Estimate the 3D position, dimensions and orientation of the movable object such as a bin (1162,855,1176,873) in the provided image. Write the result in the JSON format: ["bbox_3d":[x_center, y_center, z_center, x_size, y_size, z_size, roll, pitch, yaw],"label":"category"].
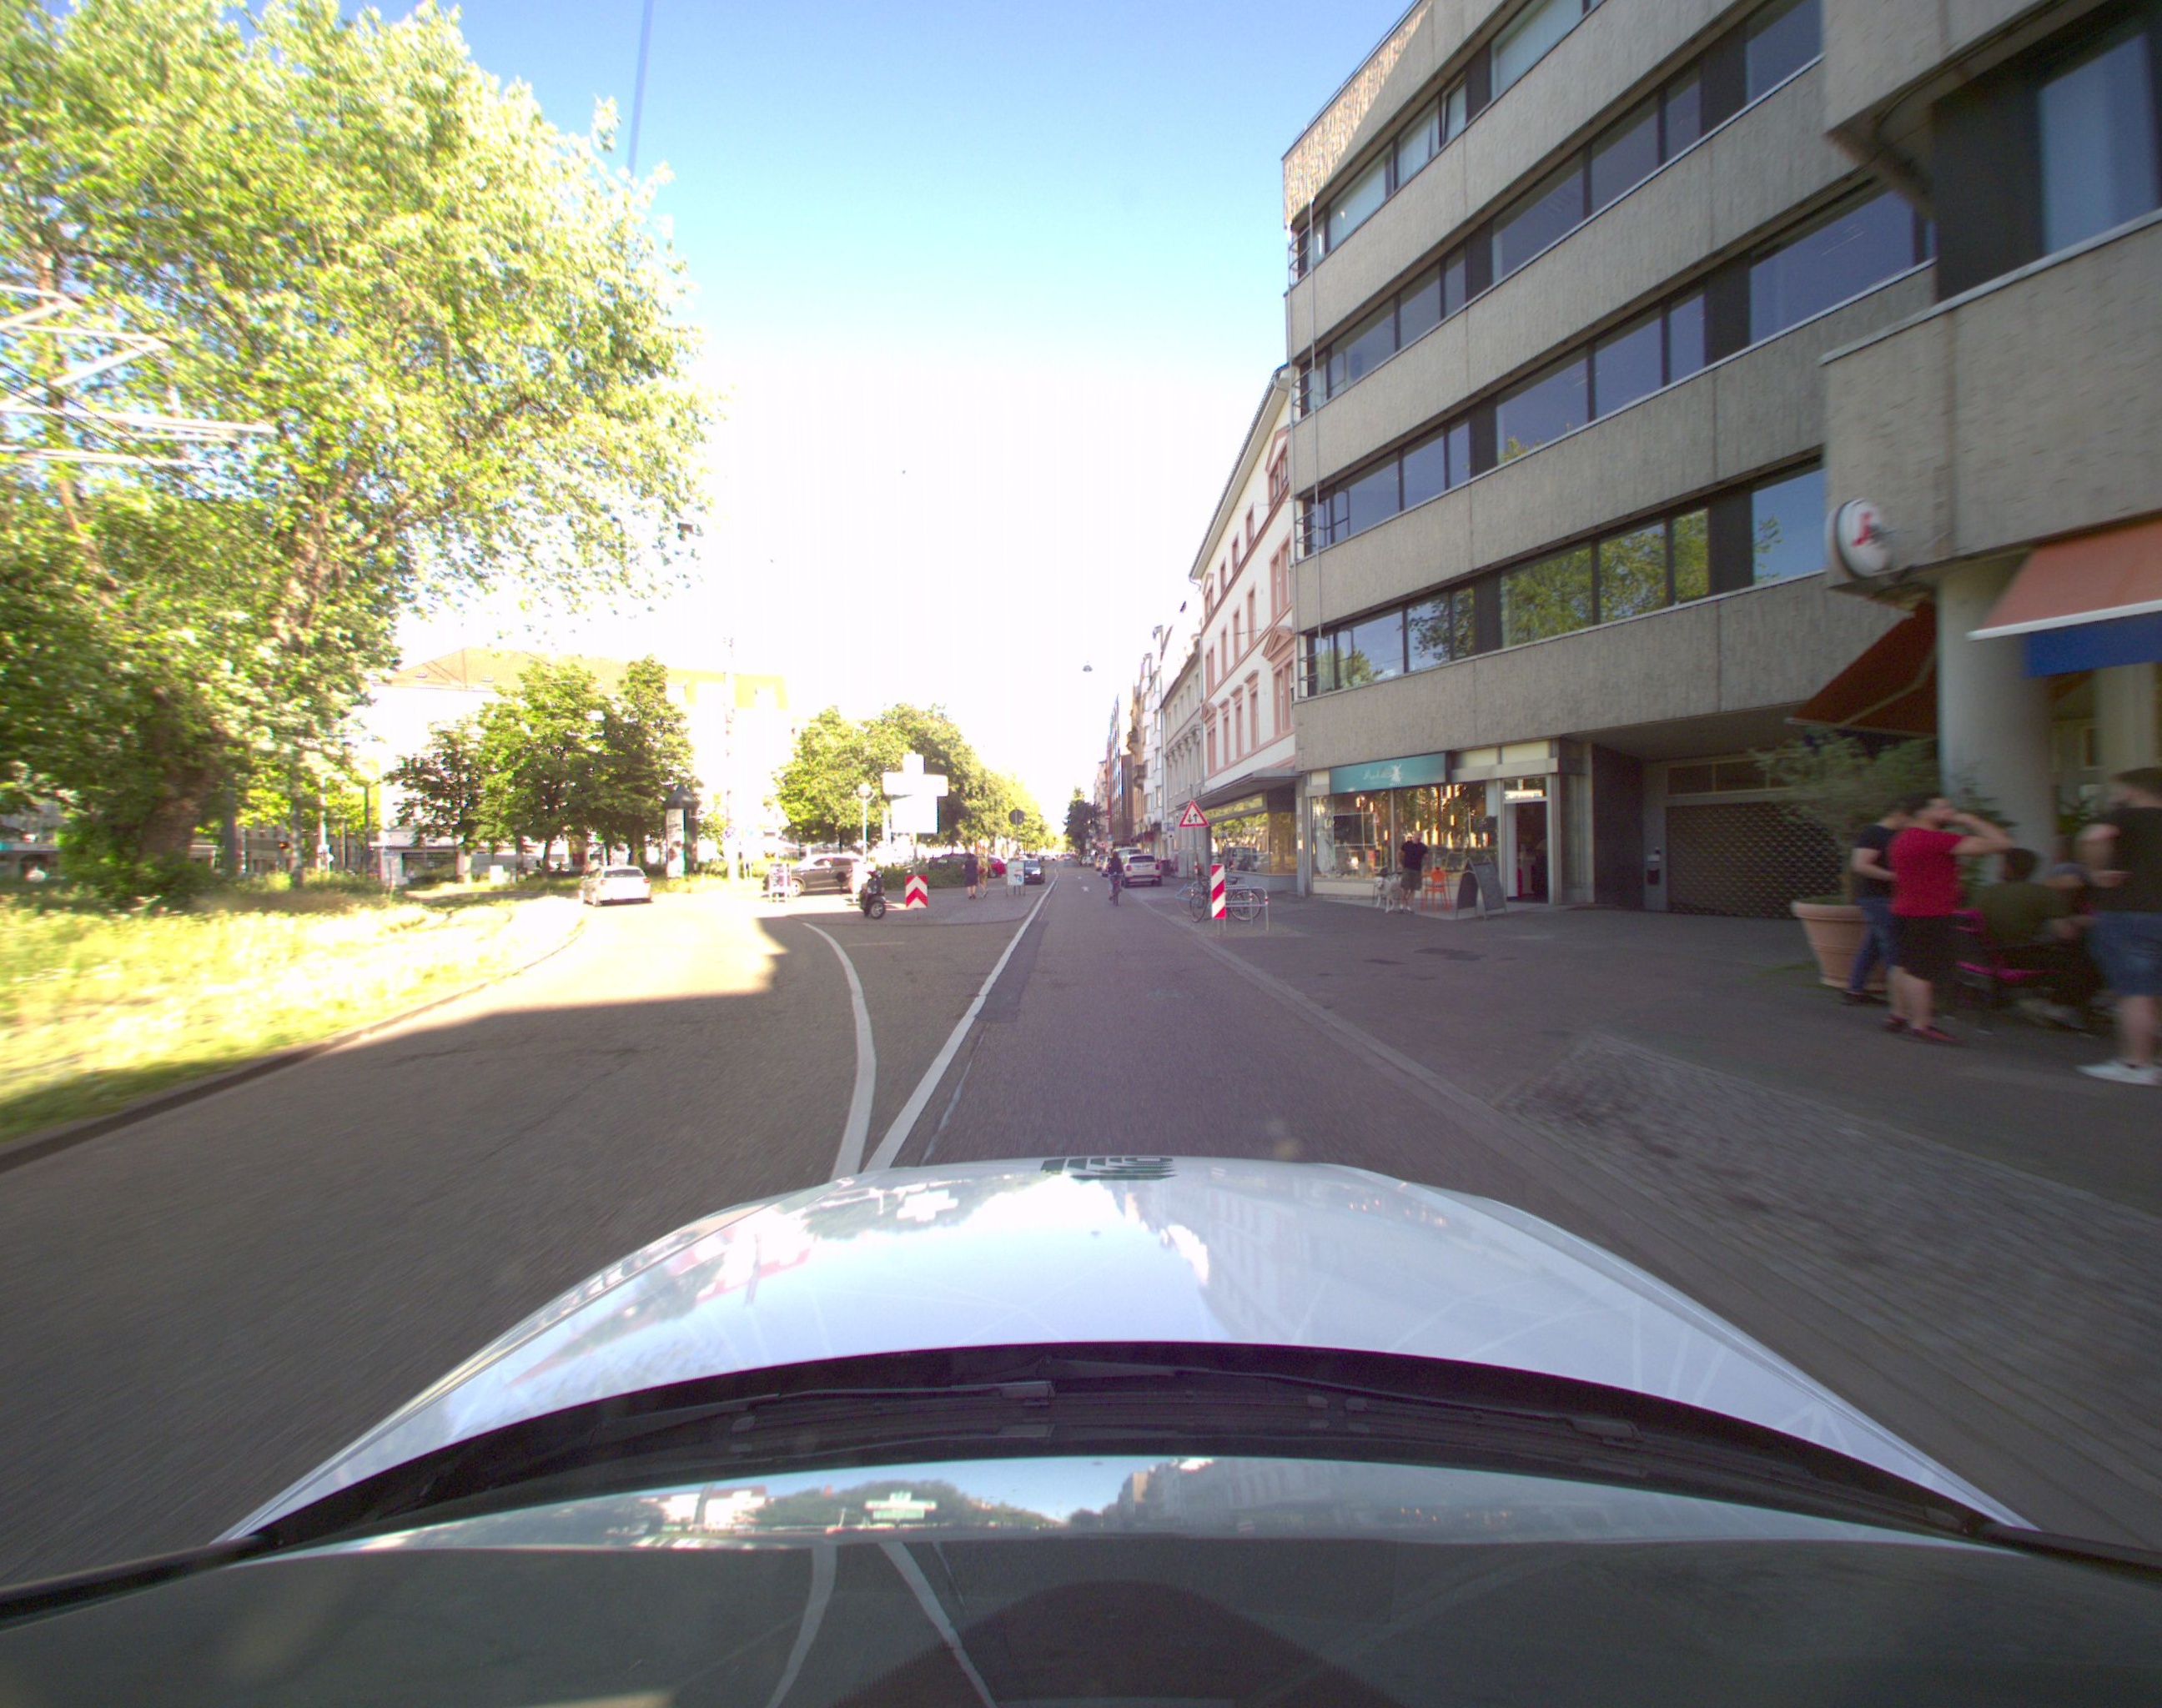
[{"bbox_3d":[5.655,0.631,52.444,0.792,1.076,0.660,-4,-1,1],"label":"movable object such as a bin"}]

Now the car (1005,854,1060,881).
[{"bbox_3d":[-2.655,0.781,45.756,1.899,1.417,4.825,0,-1,12],"label":"car"}]

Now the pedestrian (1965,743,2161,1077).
[{"bbox_3d":[6.050,0.311,4.891,0.668,1.856,0.611,-3,-1,2],"label":"pedestrian"}]

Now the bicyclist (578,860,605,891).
[{"bbox_3d":[-24.295,1.060,40.438,0.815,1.507,0.937,-1,-2,41],"label":"bicyclist"}]

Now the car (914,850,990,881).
[{"bbox_3d":[-7.275,0.632,45.953,3.997,1.668,1.988,1,0,-17],"label":"car"}]

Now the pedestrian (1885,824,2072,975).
[{"bbox_3d":[8.361,0.404,7.622,0.842,1.292,0.827,-2,-1,-13],"label":"pedestrian"}]

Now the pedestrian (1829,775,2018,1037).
[{"bbox_3d":[5.850,0.344,5.696,0.581,1.714,0.698,0,-1,2],"label":"pedestrian"}]

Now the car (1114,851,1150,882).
[{"bbox_3d":[2.795,0.701,45.258,1.694,1.604,3.755,-1,-1,0],"label":"car"}]

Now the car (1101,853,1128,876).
[{"bbox_3d":[2.413,0.770,59.779,1.713,1.515,3.580,-3,-1,-1],"label":"car"}]

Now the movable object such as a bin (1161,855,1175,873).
[{"bbox_3d":[5.681,0.627,53.150,0.835,1.137,0.699,-2,-1,1],"label":"movable object such as a bin"}]

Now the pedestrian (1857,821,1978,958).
[{"bbox_3d":[9.096,0.365,8.858,0.847,1.402,0.746,1,0,-31],"label":"pedestrian"}]

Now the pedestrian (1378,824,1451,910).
[{"bbox_3d":[6.938,0.271,17.016,1.128,1.743,1.022,0,-1,1],"label":"pedestrian"}]

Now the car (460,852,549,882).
[{"bbox_3d":[-45.520,1.058,64.448,5.361,2.314,1.984,1,-1,-25],"label":"car"}]

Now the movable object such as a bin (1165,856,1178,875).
[{"bbox_3d":[5.673,0.728,51.167,0.765,1.161,0.579,0,-1,1],"label":"movable object such as a bin"}]

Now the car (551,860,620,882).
[{"bbox_3d":[-43.261,1.490,71.217,4.877,1.804,1.894,1,-1,-23],"label":"car"}]

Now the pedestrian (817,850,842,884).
[{"bbox_3d":[-11.181,0.579,36.167,0.774,1.522,0.947,1,-2,-39],"label":"pedestrian"}]

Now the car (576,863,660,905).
[{"bbox_3d":[-16.953,1.058,29.739,2.010,1.423,4.148,1,-1,-39],"label":"car"}]

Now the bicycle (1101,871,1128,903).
[{"bbox_3d":[1.032,1.020,25.759,0.651,0.958,2.696,0,-1,-2],"label":"bicycle"}]

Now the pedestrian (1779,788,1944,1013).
[{"bbox_3d":[6.420,0.341,6.711,0.846,1.710,0.713,-3,0,-29],"label":"pedestrian"}]

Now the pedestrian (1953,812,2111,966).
[{"bbox_3d":[9.242,0.311,7.931,0.845,1.402,0.824,-1,0,-26],"label":"pedestrian"}]

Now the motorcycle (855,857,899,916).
[{"bbox_3d":[-5.010,0.765,19.951,0.749,1.374,1.746,1,-1,-24],"label":"motorcycle"}]

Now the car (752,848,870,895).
[{"bbox_3d":[-10.321,0.637,31.287,3.891,1.682,1.790,-1,-1,-41],"label":"car"}]

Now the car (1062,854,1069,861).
[{"bbox_3d":[-3.890,0.907,205.752,1.864,1.556,3.999,0,-1,0],"label":"car"}]

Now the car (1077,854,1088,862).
[{"bbox_3d":[0.244,0.798,154.322,1.988,1.453,3.997,0,0,-1],"label":"car"}]

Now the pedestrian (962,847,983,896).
[{"bbox_3d":[-3.719,0.597,27.885,0.634,1.672,0.692,0,-1,-1],"label":"pedestrian"}]

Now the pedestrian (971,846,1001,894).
[{"bbox_3d":[-3.369,0.564,28.833,0.795,1.699,0.674,-1,-2,29],"label":"pedestrian"}]

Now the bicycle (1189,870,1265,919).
[{"bbox_3d":[3.313,0.909,18.517,1.667,1.062,0.345,0,-1,14],"label":"bicycle"}]

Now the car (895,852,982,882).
[{"bbox_3d":[-7.357,0.687,42.202,4.017,1.470,1.854,1,-1,-36],"label":"car"}]

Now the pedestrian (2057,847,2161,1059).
[{"bbox_3d":[6.681,0.581,4.962,0.627,1.236,0.625,-3,-1,2],"label":"pedestrian"}]

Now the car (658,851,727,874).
[{"bbox_3d":[-35.648,0.816,74.829,5.607,2.014,1.801,1,-1,-28],"label":"car"}]

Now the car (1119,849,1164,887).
[{"bbox_3d":[2.920,0.677,40.032,1.740,1.739,4.957,0,-1,-1],"label":"car"}]

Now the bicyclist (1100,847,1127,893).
[{"bbox_3d":[1.030,0.509,25.911,0.784,1.453,1.095,0,-1,-2],"label":"bicyclist"}]

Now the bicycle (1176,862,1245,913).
[{"bbox_3d":[3.244,0.825,20.370,1.608,1.243,0.662,0,-1,19],"label":"bicycle"}]

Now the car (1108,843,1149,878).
[{"bbox_3d":[2.851,0.366,50.172,1.989,2.005,5.112,-1,0,-2],"label":"car"}]

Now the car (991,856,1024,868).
[{"bbox_3d":[-9.164,0.964,101.502,3.974,1.508,1.999,0,-1,-1],"label":"car"}]

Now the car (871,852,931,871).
[{"bbox_3d":[-17.316,0.745,78.392,5.293,1.800,2.144,1,-1,-28],"label":"car"}]

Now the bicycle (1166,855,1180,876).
[{"bbox_3d":[5.538,0.704,49.112,0.479,1.186,1.727,-4,-2,17],"label":"bicycle"}]

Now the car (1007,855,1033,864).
[{"bbox_3d":[-9.736,0.897,130.270,3.974,1.508,1.894,0,-1,-1],"label":"car"}]

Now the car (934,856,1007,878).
[{"bbox_3d":[-7.787,0.902,57.385,4.853,1.488,1.752,1,-1,-22],"label":"car"}]

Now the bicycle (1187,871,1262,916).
[{"bbox_3d":[3.336,0.904,18.909,1.691,1.004,0.429,0,-1,14],"label":"bicycle"}]

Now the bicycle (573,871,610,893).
[{"bbox_3d":[-24.254,1.372,40.353,2.550,1.069,0.817,-1,-2,41],"label":"bicycle"}]

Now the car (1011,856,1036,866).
[{"bbox_3d":[-9.502,1.179,134.894,3.976,1.508,1.999,0,-1,-2],"label":"car"}]

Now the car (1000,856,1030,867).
[{"bbox_3d":[-9.251,1.104,114.471,3.974,1.508,1.999,0,-1,-1],"label":"car"}]

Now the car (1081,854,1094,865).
[{"bbox_3d":[0.995,0.886,121.977,1.986,1.618,4.011,1,-1,1],"label":"car"}]

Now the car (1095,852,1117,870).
[{"bbox_3d":[2.476,0.701,80.926,1.894,1.675,4.822,0,-1,-1],"label":"car"}]
